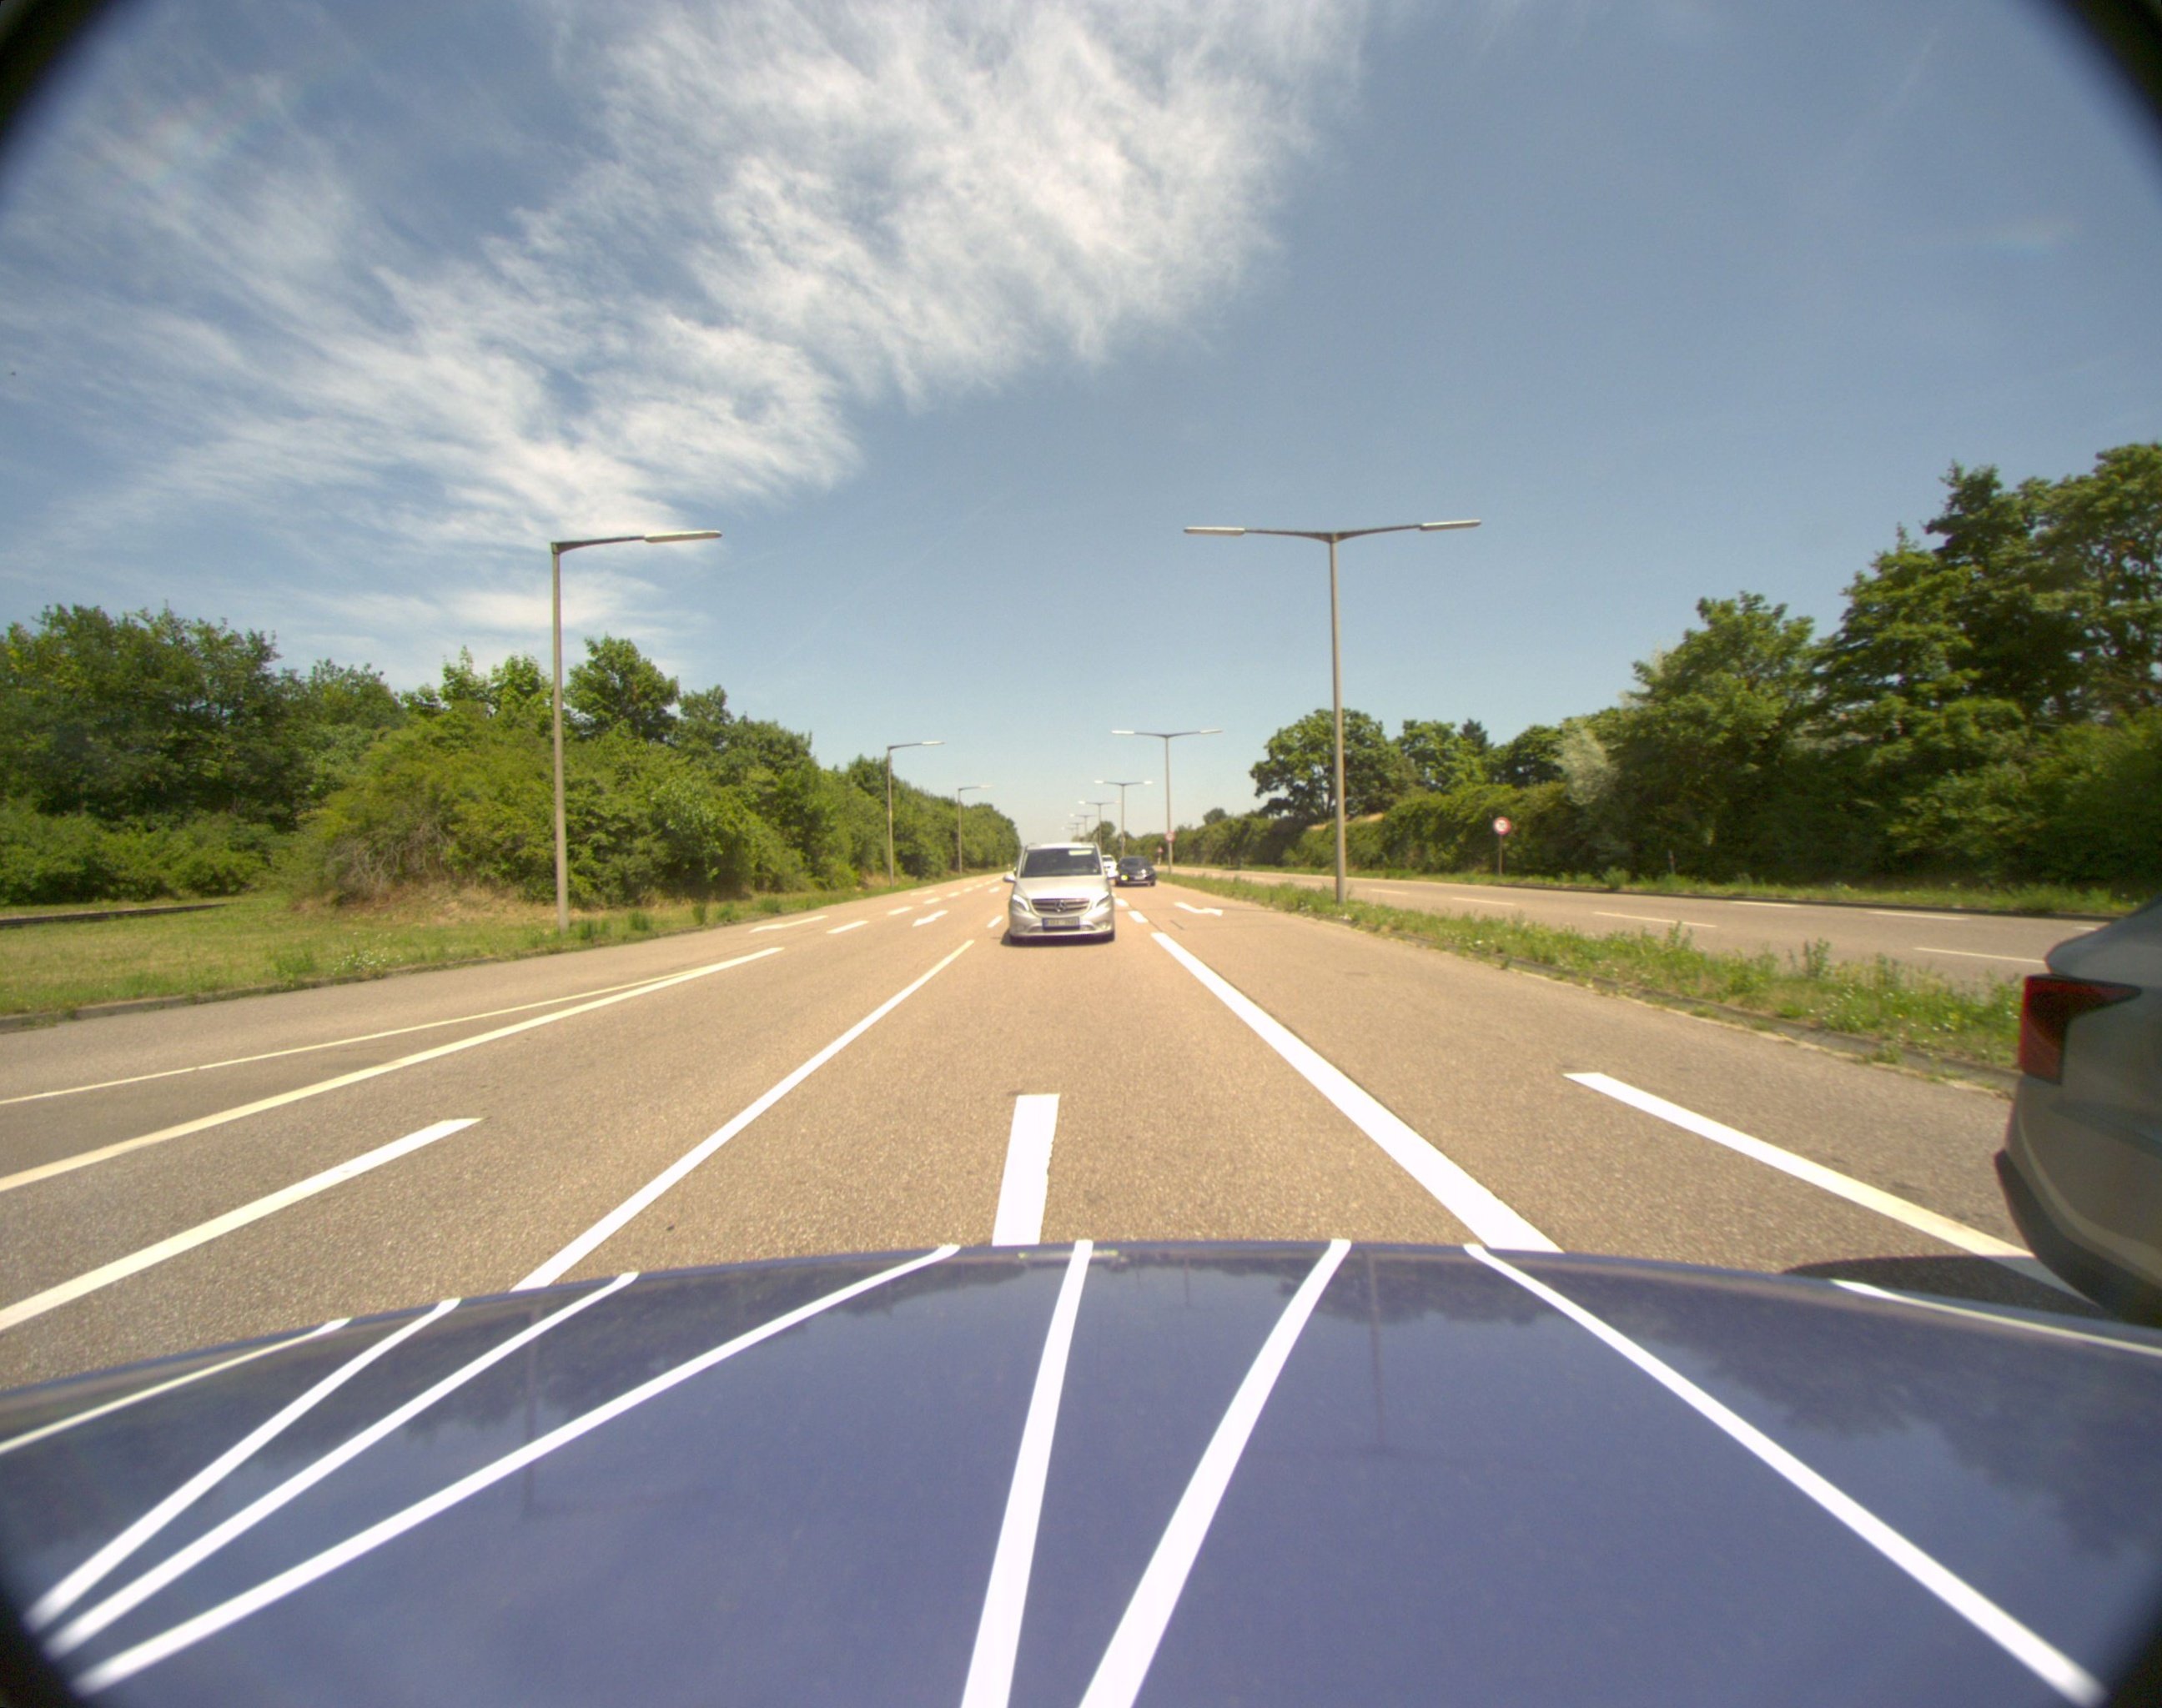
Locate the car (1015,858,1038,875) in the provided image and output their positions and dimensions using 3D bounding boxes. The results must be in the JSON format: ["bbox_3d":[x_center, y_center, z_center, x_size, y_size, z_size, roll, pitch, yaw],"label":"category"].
[{"bbox_3d":[-5.369,1.204,75.140,1.722,1.587,4.001,-1,0,2],"label":"car"}]

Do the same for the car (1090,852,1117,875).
[{"bbox_3d":[1.768,0.738,60.456,1.921,1.661,4.001,-1,1,-1],"label":"car"}]

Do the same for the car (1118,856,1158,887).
[{"bbox_3d":[2.887,0.855,39.238,1.753,1.491,4.000,-2,0,0],"label":"car"}]

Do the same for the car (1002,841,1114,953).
[{"bbox_3d":[-0.331,0.735,15.839,1.876,1.865,5.732,-1,0,1],"label":"car"}]
